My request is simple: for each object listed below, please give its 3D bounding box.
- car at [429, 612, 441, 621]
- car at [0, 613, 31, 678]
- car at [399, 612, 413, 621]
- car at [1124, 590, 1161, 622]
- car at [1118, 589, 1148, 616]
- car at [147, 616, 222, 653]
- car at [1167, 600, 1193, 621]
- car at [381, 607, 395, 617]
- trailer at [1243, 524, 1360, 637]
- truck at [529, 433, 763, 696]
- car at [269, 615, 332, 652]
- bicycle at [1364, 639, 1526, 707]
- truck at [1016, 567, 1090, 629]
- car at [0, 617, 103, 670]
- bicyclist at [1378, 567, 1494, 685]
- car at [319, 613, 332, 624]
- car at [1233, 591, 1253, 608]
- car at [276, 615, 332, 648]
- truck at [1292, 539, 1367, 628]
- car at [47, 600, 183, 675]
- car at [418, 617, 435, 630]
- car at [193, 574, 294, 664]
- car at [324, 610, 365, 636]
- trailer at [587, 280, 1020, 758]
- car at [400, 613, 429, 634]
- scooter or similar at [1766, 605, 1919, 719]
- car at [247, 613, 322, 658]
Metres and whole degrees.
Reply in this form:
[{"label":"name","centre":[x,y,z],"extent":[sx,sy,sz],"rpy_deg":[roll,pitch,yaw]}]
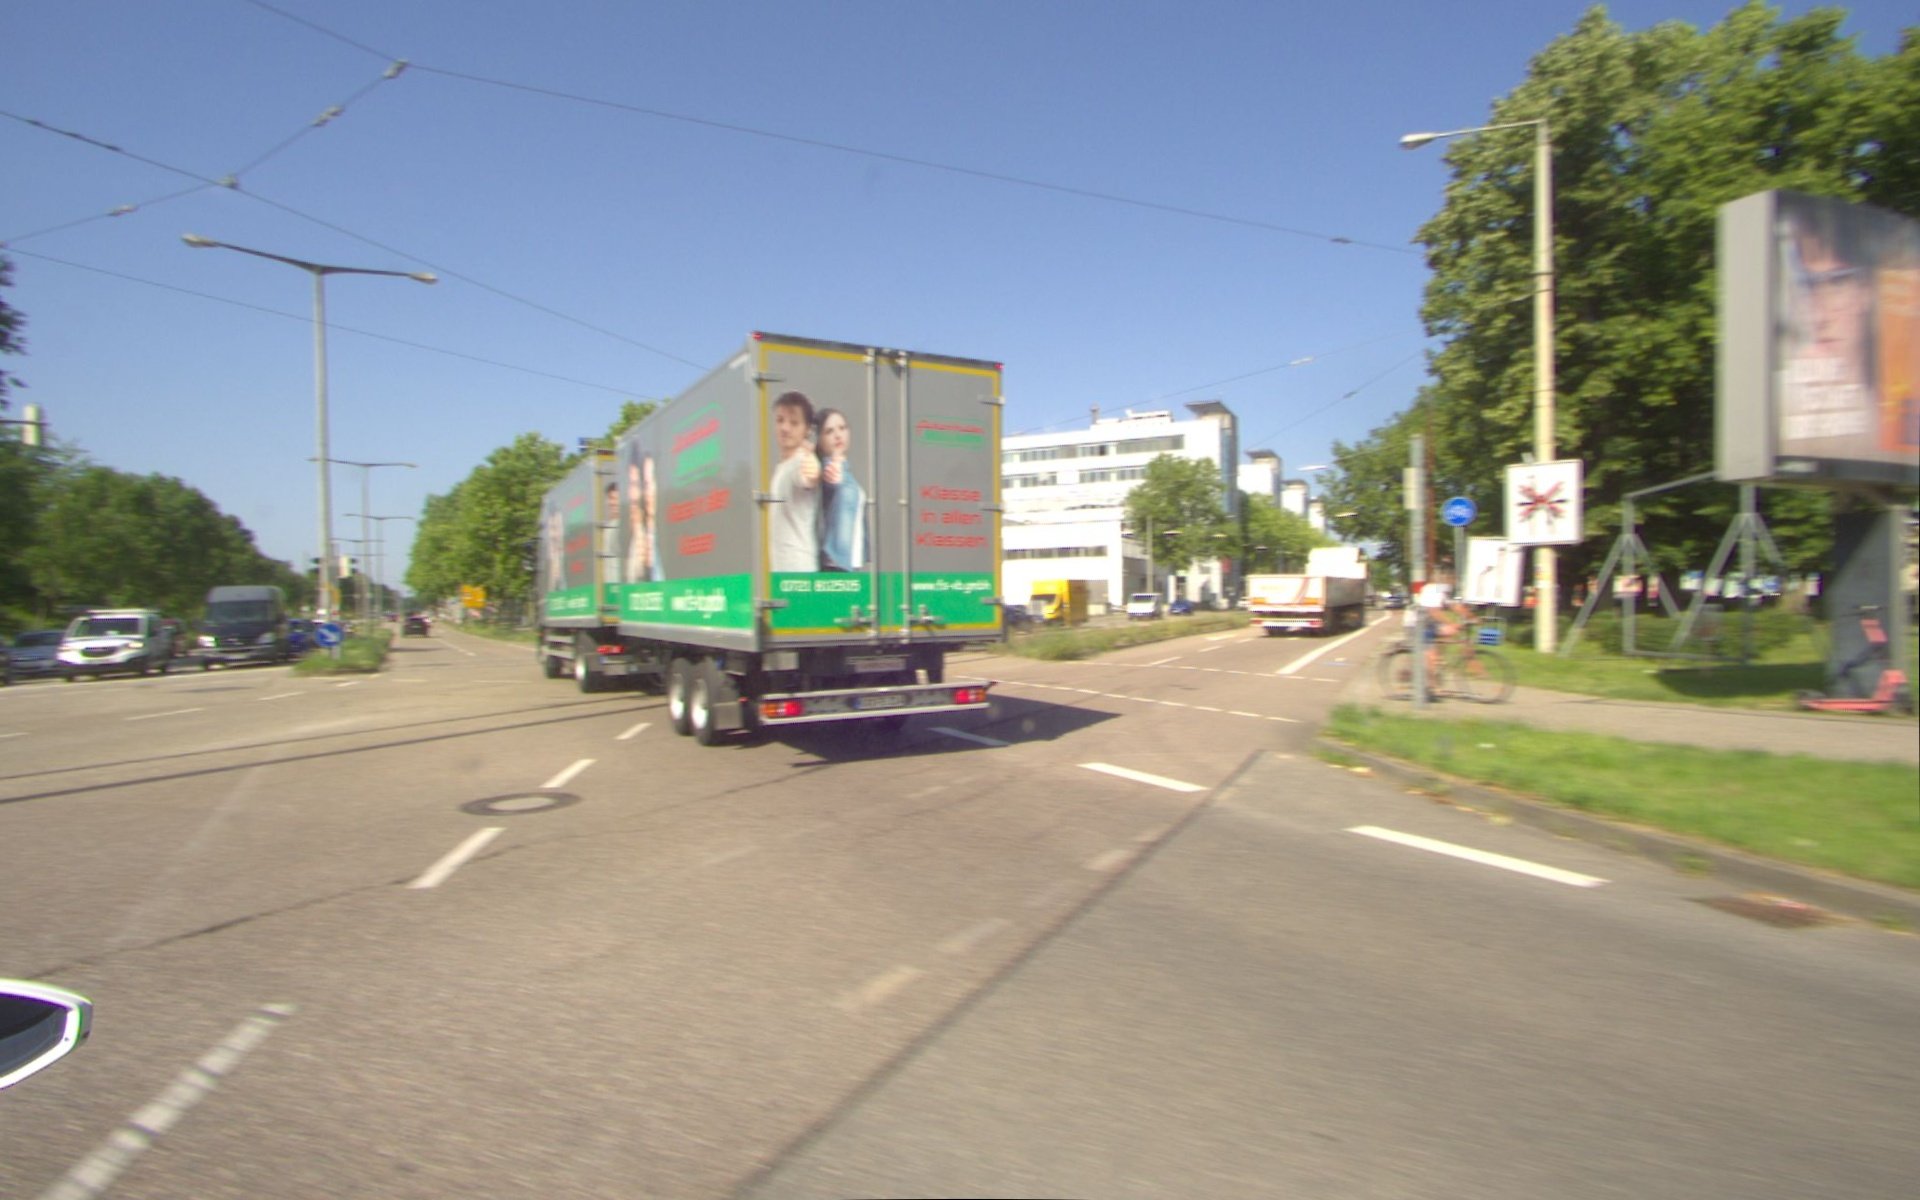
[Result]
[{"label":"car","centre":[-98.044,3.039,187.104],"extent":[1.971,1.605,4.436],"rpy_deg":[2,-2,-28]},{"label":"car","centre":[-25.694,1.189,25.659],"extent":[1.889,1.663,3.720],"rpy_deg":[-1,-1,-29]},{"label":"car","centre":[-98.221,2.968,177.535],"extent":[1.971,1.605,4.436],"rpy_deg":[2,-2,-28]},{"label":"car","centre":[13.503,0.457,73.824],"extent":[1.965,2.230,3.993],"rpy_deg":[0,-2,21]},{"label":"car","centre":[14.544,0.231,84.041],"extent":[1.964,2.039,3.995],"rpy_deg":[0,-2,18]},{"label":"car","centre":[-35.995,1.587,46.589],"extent":[1.971,1.605,4.436],"rpy_deg":[2,-2,-28]},{"label":"car","centre":[19.935,0.985,90.641],"extent":[1.964,1.816,3.995],"rpy_deg":[0,-2,18]},{"label":"car","centre":[-100.440,2.109,175.895],"extent":[1.971,1.605,4.436],"rpy_deg":[2,-2,-28]},{"label":"trailer","centre":[13.913,-0.668,39.986],"extent":[2.772,3.823,11.803],"rpy_deg":[-1,0,27]},{"label":"truck","centre":[-6.481,-0.419,19.491],"extent":[2.698,3.940,8.681],"rpy_deg":[0,-1,-29]},{"label":"car","centre":[-29.886,1.511,45.468],"extent":[1.971,1.605,3.982],"rpy_deg":[2,-2,-28]},{"label":"bicycle","centre":[6.485,0.957,13.468],"extent":[0.528,0.805,1.892],"rpy_deg":[-2,0,-44]},{"label":"truck","centre":[5.306,0.007,56.010],"extent":[2.260,3.175,6.949],"rpy_deg":[0,-2,21]},{"label":"car","centre":[-29.126,1.358,31.841],"extent":[1.970,1.560,4.216],"rpy_deg":[-1,-1,-29]},{"label":"bicyclist","centre":[6.397,0.335,13.487],"extent":[0.751,1.497,1.224],"rpy_deg":[-2,1,-44]},{"label":"car","centre":[-119.590,3.468,188.748],"extent":[1.867,2.039,3.981],"rpy_deg":[2,-2,-29]},{"label":"car","centre":[37.454,-0.059,132.470],"extent":[1.967,2.039,3.990],"rpy_deg":[0,-2,24]},{"label":"car","centre":[-33.308,1.597,50.947],"extent":[1.971,1.605,3.982],"rpy_deg":[2,-2,-28]},{"label":"truck","centre":[17.269,-0.712,46.640],"extent":[2.755,3.878,5.086],"rpy_deg":[0,0,26]},{"label":"car","centre":[-23.809,1.022,28.419],"extent":[1.970,1.894,4.751],"rpy_deg":[-1,-1,-29]},{"label":"car","centre":[-70.951,3.155,133.162],"extent":[1.971,1.605,4.436],"rpy_deg":[2,-2,-28]},{"label":"car","centre":[-22.945,0.615,32.243],"extent":[1.970,2.641,5.110],"rpy_deg":[-1,-1,-29]},{"label":"car","centre":[-40.109,1.527,65.324],"extent":[1.971,1.605,3.982],"rpy_deg":[2,-2,-28]},{"label":"trailer","centre":[-2.495,-0.578,12.263],"extent":[2.706,3.927,7.697],"rpy_deg":[0,-1,-29]},{"label":"car","centre":[-44.281,1.918,81.385],"extent":[1.971,1.605,4.436],"rpy_deg":[2,-2,-28]},{"label":"scooter or similar","centre":[9.709,0.646,10.925],"extent":[0.430,1.163,1.366],"rpy_deg":[-1,1,-31]},{"label":"car","centre":[-26.286,1.345,39.071],"extent":[1.970,1.606,3.982],"rpy_deg":[-2,0,-28]}]
